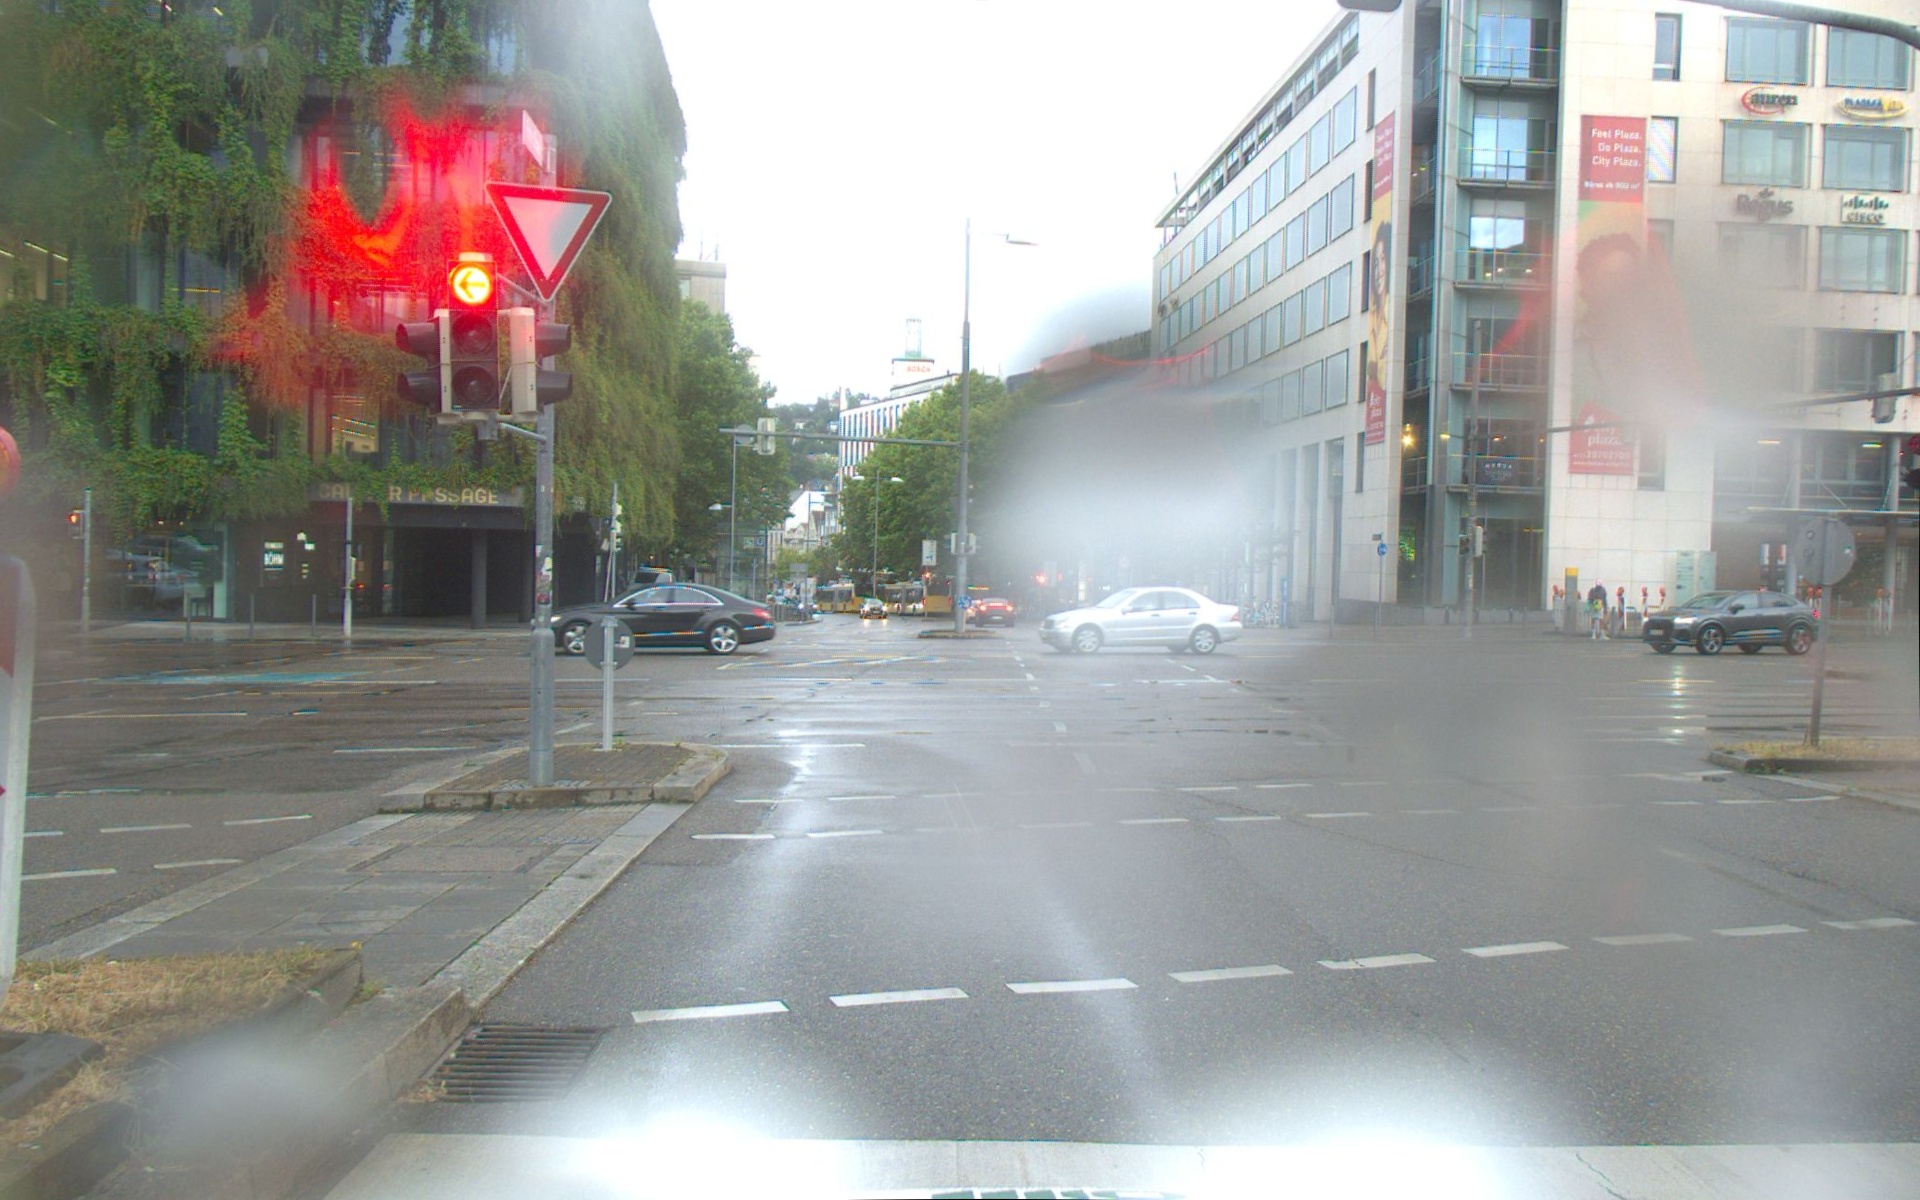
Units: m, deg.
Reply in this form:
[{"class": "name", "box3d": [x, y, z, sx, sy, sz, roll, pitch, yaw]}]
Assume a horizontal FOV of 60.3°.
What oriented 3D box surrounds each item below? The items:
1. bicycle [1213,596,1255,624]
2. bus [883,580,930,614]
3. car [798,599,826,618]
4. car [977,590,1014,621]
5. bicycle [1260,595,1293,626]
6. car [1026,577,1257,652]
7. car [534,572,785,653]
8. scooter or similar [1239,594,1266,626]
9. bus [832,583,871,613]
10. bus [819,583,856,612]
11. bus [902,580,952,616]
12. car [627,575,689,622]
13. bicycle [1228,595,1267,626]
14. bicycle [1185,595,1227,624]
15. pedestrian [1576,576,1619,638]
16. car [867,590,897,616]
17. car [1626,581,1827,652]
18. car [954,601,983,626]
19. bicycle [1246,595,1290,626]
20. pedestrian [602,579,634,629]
[{"class": "bicycle", "box3d": [11.885, 0.435, 71.783, 1.741, 1.215, 0.586, 1, -1, 1]}, {"class": "bus", "box3d": [-4.978, -0.280, 153.018, 2.585, 3.048, 7.417, 0, 0, -16]}, {"class": "car", "box3d": [-14.141, 0.825, 157.613, 2.125, 1.796, 4.817, -1, 0, -11]}, {"class": "car", "box3d": [1.817, 0.304, 85.503, 1.745, 1.534, 3.999, 1, 0, -1]}, {"class": "bicycle", "box3d": [12.853, 0.432, 67.145, 0.575, 1.215, 1.776, 1, -1, 37]}, {"class": "car", "box3d": [3.940, 0.279, 36.111, 4.638, 1.502, 1.993, 0, 2, -14]}, {"class": "car", "box3d": [-6.067, 0.284, 33.336, 4.771, 1.503, 1.990, 1, -2, -18]}, {"class": "scooter or similar", "box3d": [11.379, 0.395, 64.329, 0.946, 1.215, 0.453, 1, -1, 40]}, {"class": "bus", "box3d": [-11.357, -0.270, 173.067, 2.585, 3.048, 7.296, 0, 0, -16]}, {"class": "bus", "box3d": [-13.354, -0.329, 180.133, 2.585, 3.048, 7.417, 0, 0, -16]}, {"class": "bus", "box3d": [-2.982, -0.212, 145.902, 2.585, 3.048, 7.417, 0, 0, -16]}, {"class": "car", "box3d": [-12.395, -0.050, 68.143, 1.832, 1.871, 3.999, 1, 0, -1]}, {"class": "bicycle", "box3d": [11.578, 0.408, 66.568, 0.578, 1.215, 1.766, 1, 0, -28]}, {"class": "bicycle", "box3d": [10.856, 0.422, 72.936, 1.741, 1.215, 0.586, 1, -1, 1]}, {"class": "pedestrian", "box3d": [19.314, 0.215, 50.107, 0.942, 1.848, 0.836, 1, -1, -1]}, {"class": "car", "box3d": [-6.019, 0.211, 126.715, 2.121, 1.796, 5.108, 4, 0, -4]}, {"class": "car", "box3d": [18.793, 0.420, 40.586, 4.402, 1.637, 1.823, 1, 0, -17]}, {"class": "car", "box3d": [0.524, 0.861, 106.766, 1.745, 1.534, 3.999, 1, 0, -1]}, {"class": "bicycle", "box3d": [12.115, 0.410, 65.024, 1.590, 1.215, 0.586, 1, -1, 25]}, {"class": "pedestrian", "box3d": [-11.733, 0.135, 56.711, 0.915, 1.673, 0.774, 1, -1, -1]}]
